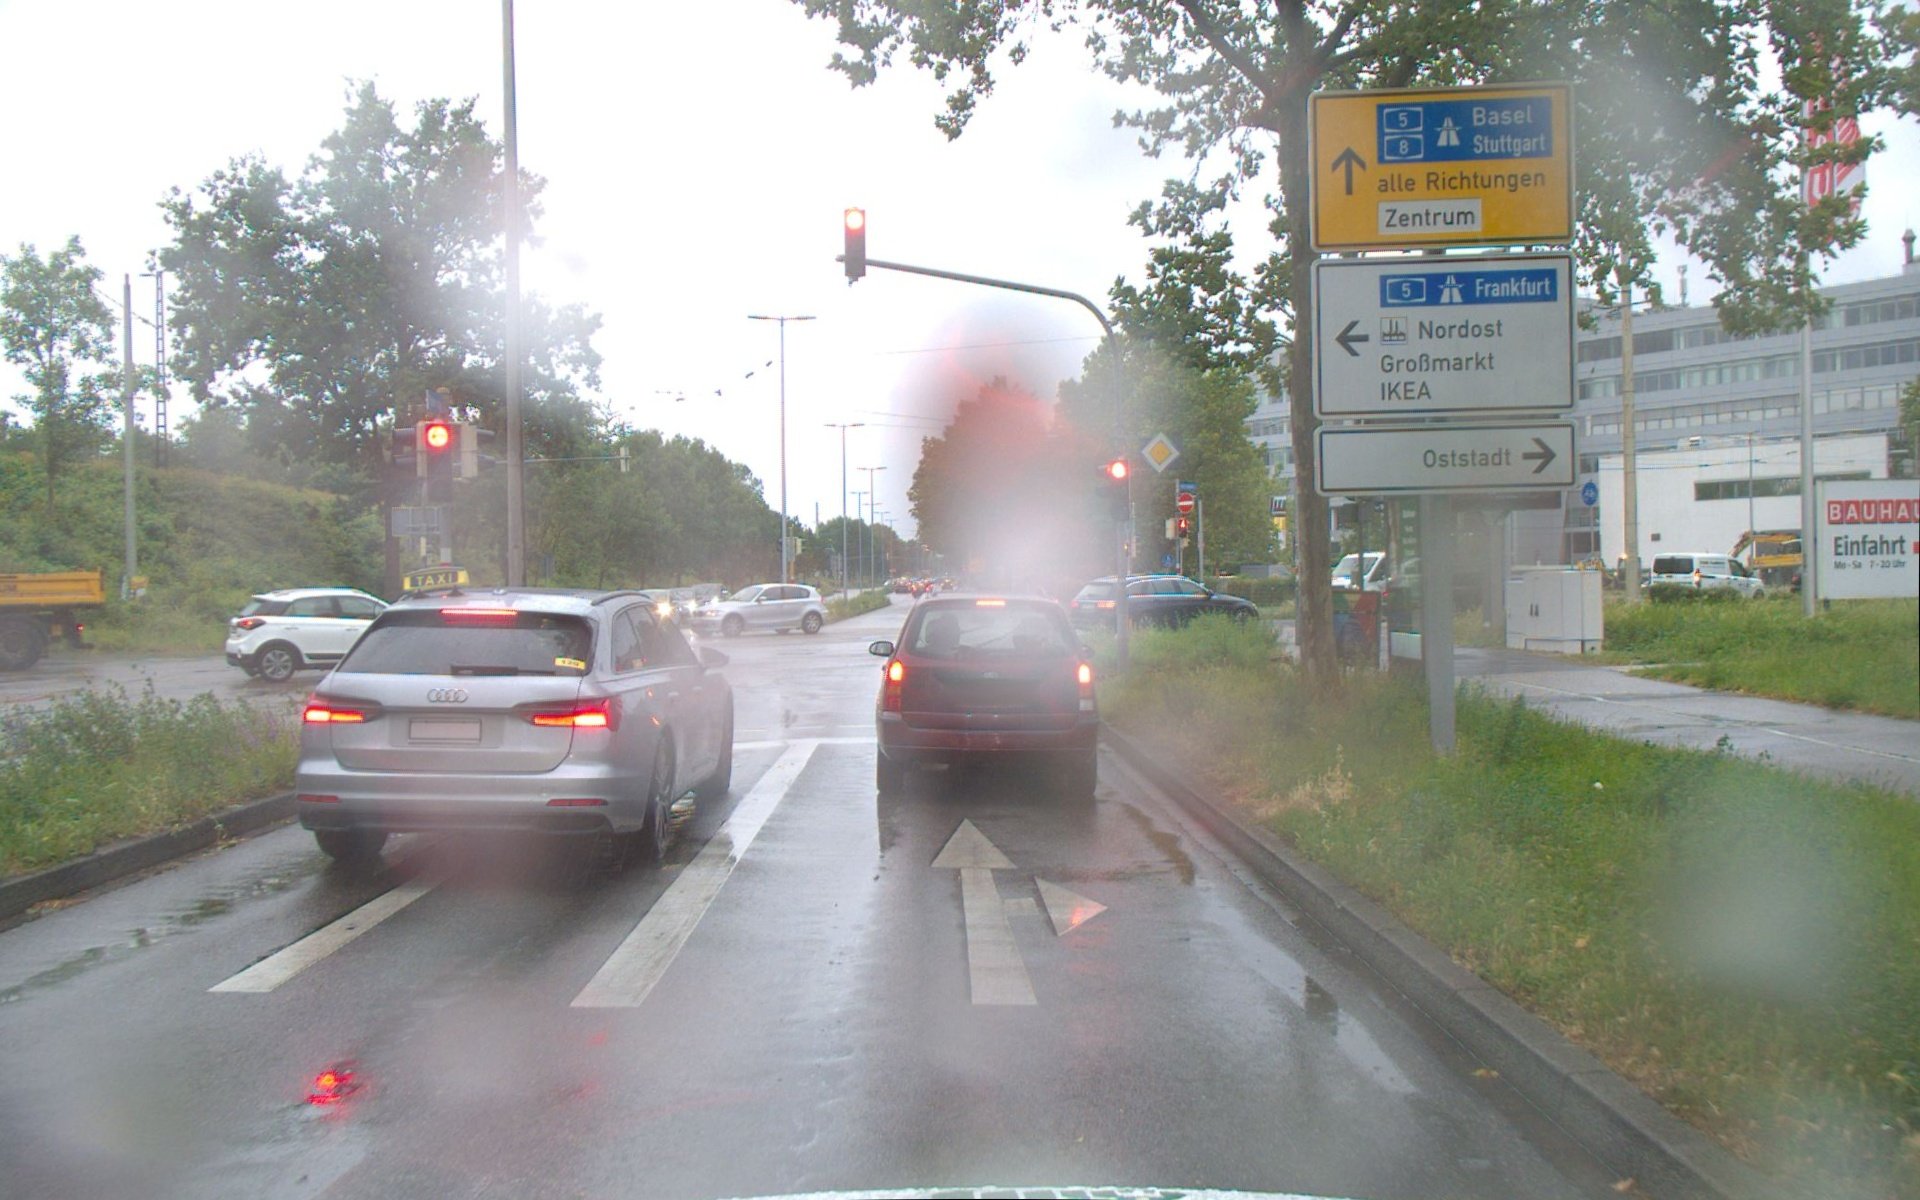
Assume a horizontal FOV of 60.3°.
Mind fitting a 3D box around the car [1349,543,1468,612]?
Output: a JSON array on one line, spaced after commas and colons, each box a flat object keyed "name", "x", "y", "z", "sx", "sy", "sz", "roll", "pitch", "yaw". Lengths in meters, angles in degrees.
[{"name": "car", "x": 16.141, "y": -0.831, "z": 59.448, "sx": 4.339, "sy": 2.228, "sz": 1.779, "roll": -4, "pitch": 2, "yaw": -36}]

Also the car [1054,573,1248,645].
[{"name": "car", "x": 4.497, "y": 0.198, "z": 38.825, "sx": 4.327, "sy": 1.564, "sz": 1.784, "roll": -1, "pitch": 0, "yaw": -30}]

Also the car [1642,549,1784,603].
[{"name": "car", "x": 23.021, "y": -0.736, "z": 50.539, "sx": 4.327, "sy": 1.564, "sz": 1.784, "roll": -1, "pitch": 0, "yaw": -30}]

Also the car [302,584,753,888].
[{"name": "car", "x": -2.369, "y": 0.647, "z": 10.252, "sx": 1.656, "sy": 1.458, "sz": 4.573, "roll": 0, "pitch": 0, "yaw": -1}]

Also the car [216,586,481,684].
[{"name": "car", "x": -10.691, "y": 0.566, "z": 28.973, "sx": 4.015, "sy": 1.547, "sz": 1.976, "roll": -1, "pitch": 0, "yaw": -34}]

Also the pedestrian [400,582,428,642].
[{"name": "pedestrian", "x": -16.821, "y": 0.374, "z": 50.945, "sx": 0.522, "sy": 1.817, "sz": 0.673, "roll": 0, "pitch": -1, "yaw": 16}]

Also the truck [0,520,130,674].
[{"name": "truck", "x": -21.076, "y": -0.028, "z": 33.821, "sx": 6.977, "sy": 3.107, "sz": 2.611, "roll": -1, "pitch": 0, "yaw": -38}]

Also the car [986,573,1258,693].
[{"name": "car", "x": 2.631, "y": 0.444, "z": 26.143, "sx": 4.349, "sy": 1.563, "sz": 1.775, "roll": -4, "pitch": 3, "yaw": -41}]

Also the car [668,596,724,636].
[{"name": "car", "x": -10.848, "y": 0.642, "z": 68.209, "sx": 1.678, "sy": 1.557, "sz": 3.999, "roll": -1, "pitch": 0, "yaw": -1}]

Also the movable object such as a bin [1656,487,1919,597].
[{"name": "movable object such as a bin", "x": 53.685, "y": -3.439, "z": 105.993, "sx": 8.168, "sy": 6.393, "sz": 14.792, "roll": 1, "pitch": -1, "yaw": -34}]

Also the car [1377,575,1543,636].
[{"name": "car", "x": 13.303, "y": 0.124, "z": 43.924, "sx": 4.327, "sy": 1.564, "sz": 1.784, "roll": 0, "pitch": 0, "yaw": -30}]

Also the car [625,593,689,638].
[{"name": "car", "x": -11.221, "y": 0.554, "z": 61.425, "sx": 1.678, "sy": 1.557, "sz": 3.999, "roll": -1, "pitch": 0, "yaw": -1}]

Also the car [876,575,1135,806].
[{"name": "car", "x": 0.284, "y": 0.619, "z": 13.566, "sx": 1.760, "sy": 1.564, "sz": 4.386, "roll": 1, "pitch": 0, "yaw": -1}]

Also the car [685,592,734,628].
[{"name": "car", "x": -11.482, "y": 0.431, "z": 76.109, "sx": 1.678, "sy": 1.557, "sz": 3.999, "roll": -1, "pitch": 0, "yaw": -1}]

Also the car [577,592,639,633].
[{"name": "car", "x": -14.142, "y": 0.477, "z": 66.698, "sx": 1.678, "sy": 1.557, "sz": 3.999, "roll": -1, "pitch": 0, "yaw": -1}]

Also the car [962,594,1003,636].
[{"name": "car", "x": 1.116, "y": 0.750, "z": 84.183, "sx": 1.953, "sy": 2.049, "sz": 3.999, "roll": -1, "pitch": 0, "yaw": -1}]

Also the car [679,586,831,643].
[{"name": "car", "x": -5.780, "y": 0.384, "z": 46.839, "sx": 3.962, "sy": 1.512, "sz": 1.793, "roll": -1, "pitch": 0, "yaw": -40}]

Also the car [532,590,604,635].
[{"name": "car", "x": -14.211, "y": 0.435, "z": 60.158, "sx": 1.678, "sy": 1.557, "sz": 3.999, "roll": -1, "pitch": 0, "yaw": -1}]
